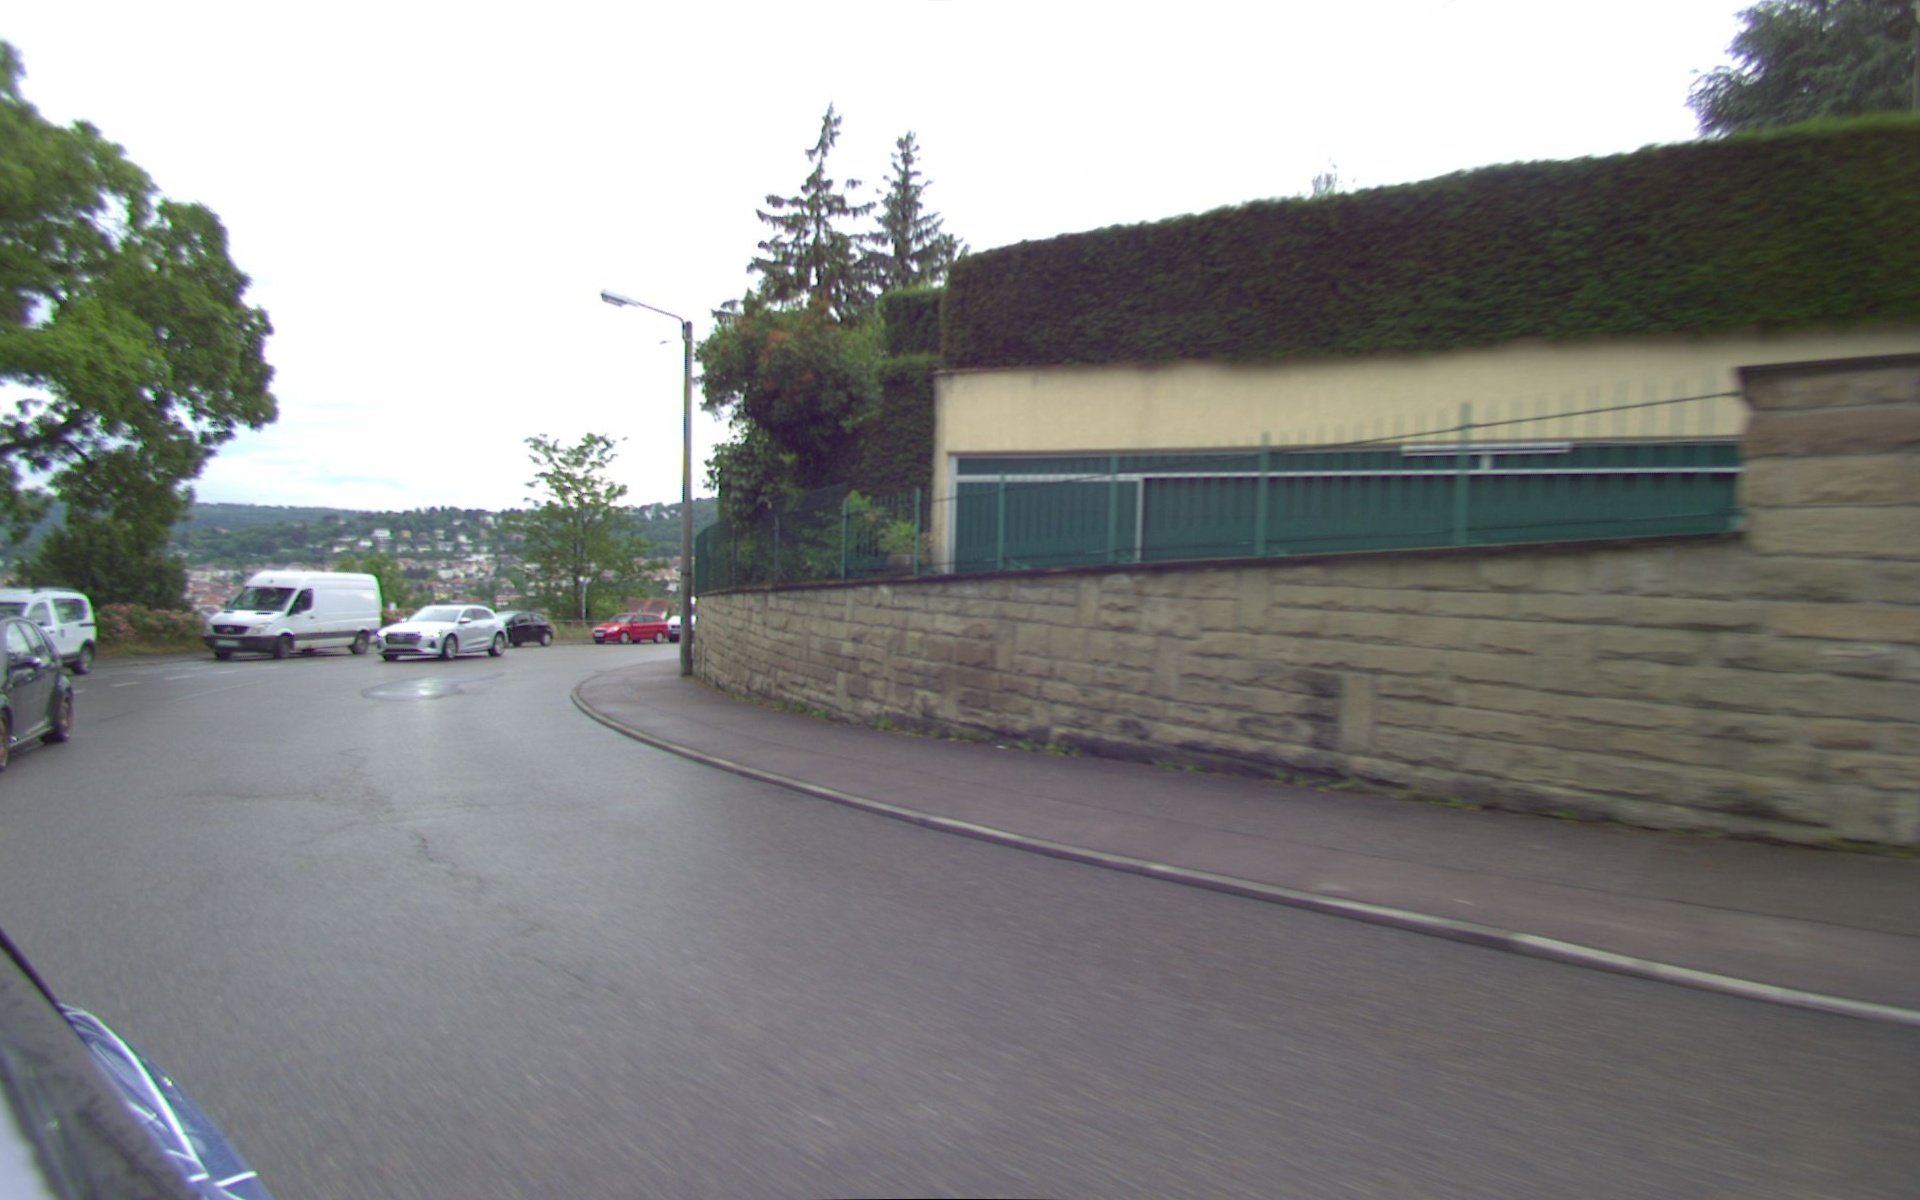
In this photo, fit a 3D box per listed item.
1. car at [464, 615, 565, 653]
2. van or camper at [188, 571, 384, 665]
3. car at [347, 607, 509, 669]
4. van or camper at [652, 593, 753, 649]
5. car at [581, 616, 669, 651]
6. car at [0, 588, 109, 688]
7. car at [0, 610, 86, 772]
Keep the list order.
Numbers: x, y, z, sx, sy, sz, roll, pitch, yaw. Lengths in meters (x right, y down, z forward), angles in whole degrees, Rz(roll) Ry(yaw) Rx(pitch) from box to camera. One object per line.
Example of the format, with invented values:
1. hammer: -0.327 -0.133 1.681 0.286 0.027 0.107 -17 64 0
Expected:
1. car: -18.399 1.448 41.954 1.686 1.455 3.926 -1 -4 16
2. van or camper: -20.495 0.550 31.183 2.045 2.600 5.886 1 -1 0
3. car: -15.894 1.113 30.609 2.164 1.721 4.877 0 -1 3
4. van or camper: -13.531 1.188 53.537 2.069 2.681 5.547 -1 -4 25
5. car: -15.890 1.616 48.281 1.615 1.552 4.182 0 -3 23
6. car: -19.114 0.734 20.181 1.722 1.835 4.437 2 -3 -19
7. car: -10.234 0.849 9.939 1.754 1.497 4.418 1 -1 -31
